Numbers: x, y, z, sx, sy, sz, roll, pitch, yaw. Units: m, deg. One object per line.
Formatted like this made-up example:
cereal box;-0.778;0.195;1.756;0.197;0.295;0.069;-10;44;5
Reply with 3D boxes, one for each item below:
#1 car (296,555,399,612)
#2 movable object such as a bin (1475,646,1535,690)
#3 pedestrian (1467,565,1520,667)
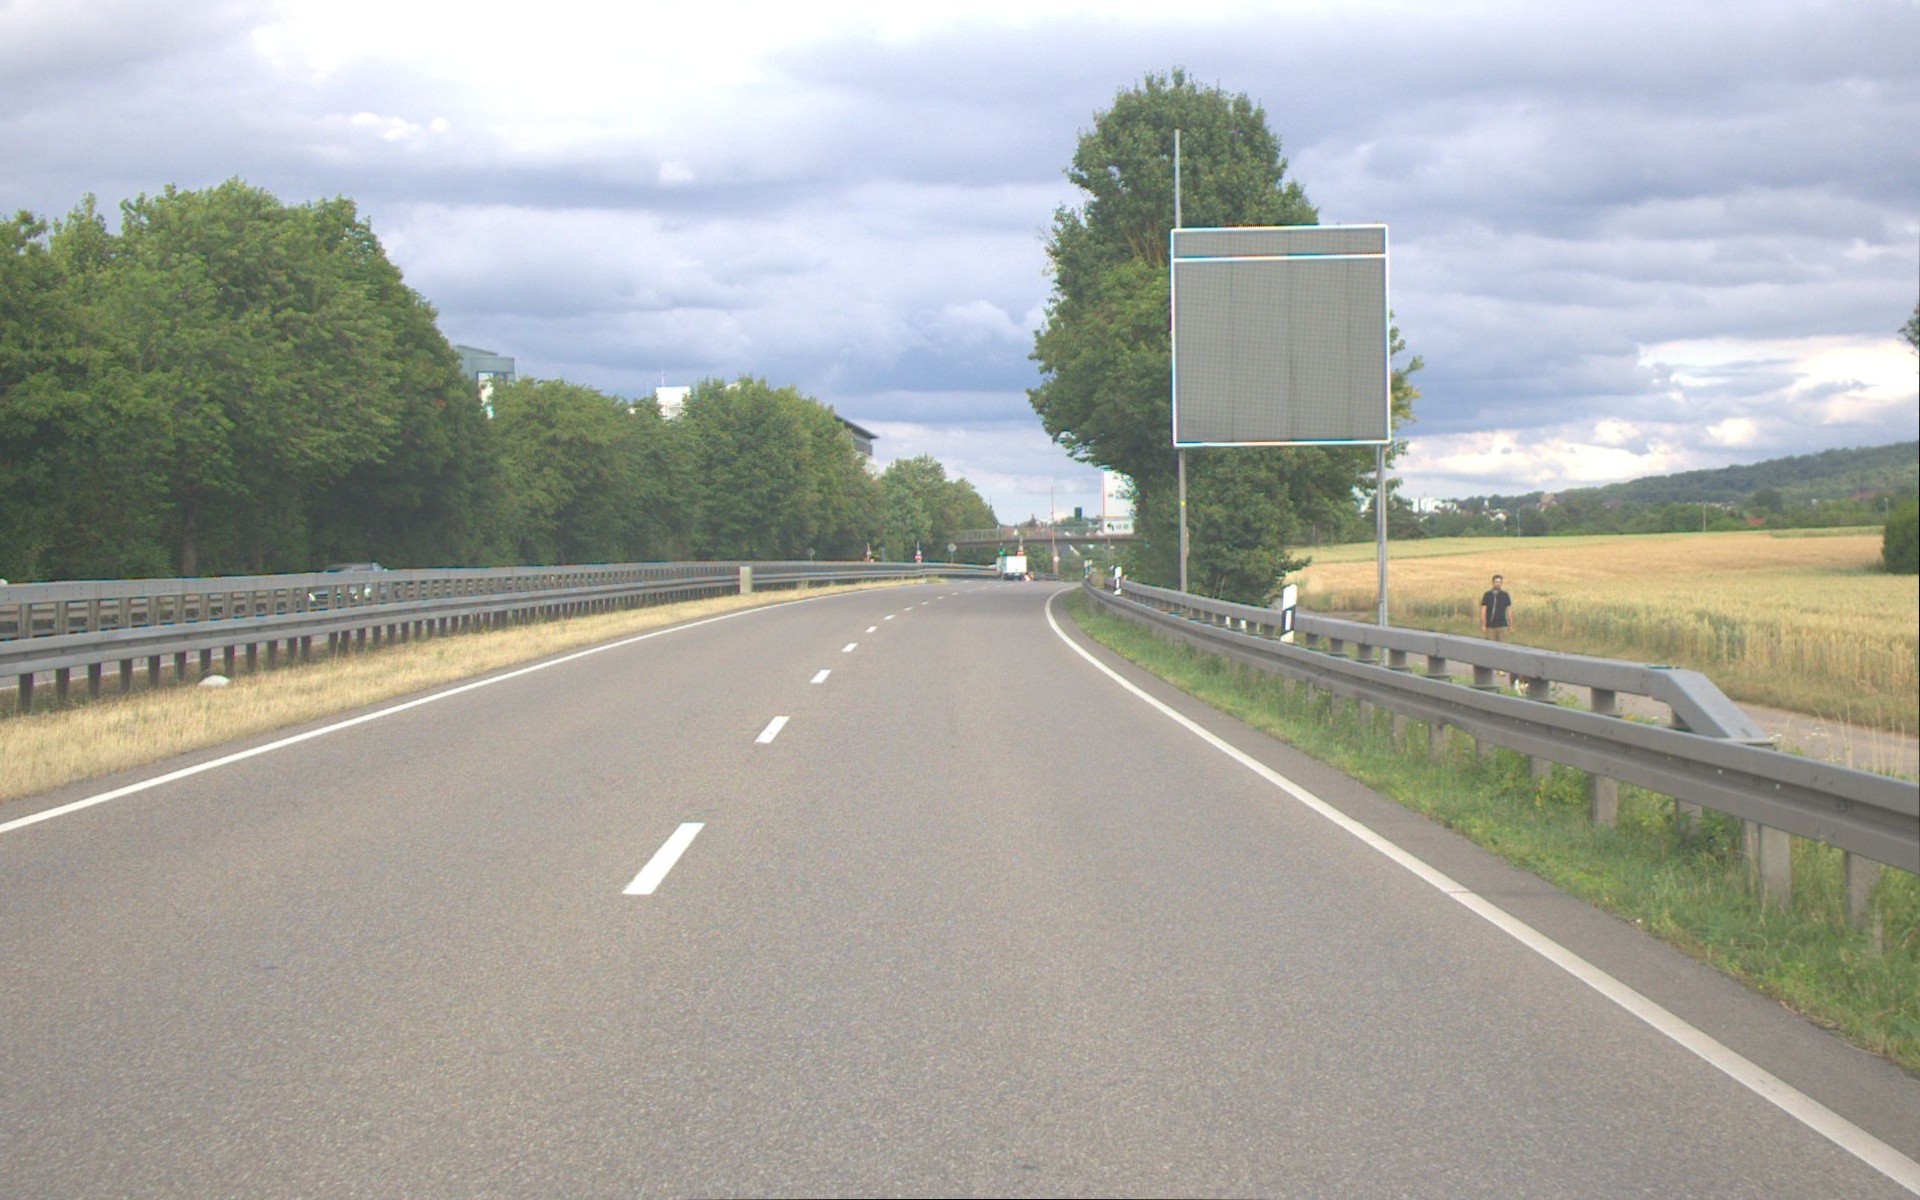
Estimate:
car;-15.295;-0.423;86.050;1.781;1.347;4.577;-1;1;0
movable object such as a bin;8.650;1.078;54.567;0.732;0.643;1.235;2;0;0
pedestrian;9.904;0.299;63.849;0.771;1.861;0.940;2;0;0
